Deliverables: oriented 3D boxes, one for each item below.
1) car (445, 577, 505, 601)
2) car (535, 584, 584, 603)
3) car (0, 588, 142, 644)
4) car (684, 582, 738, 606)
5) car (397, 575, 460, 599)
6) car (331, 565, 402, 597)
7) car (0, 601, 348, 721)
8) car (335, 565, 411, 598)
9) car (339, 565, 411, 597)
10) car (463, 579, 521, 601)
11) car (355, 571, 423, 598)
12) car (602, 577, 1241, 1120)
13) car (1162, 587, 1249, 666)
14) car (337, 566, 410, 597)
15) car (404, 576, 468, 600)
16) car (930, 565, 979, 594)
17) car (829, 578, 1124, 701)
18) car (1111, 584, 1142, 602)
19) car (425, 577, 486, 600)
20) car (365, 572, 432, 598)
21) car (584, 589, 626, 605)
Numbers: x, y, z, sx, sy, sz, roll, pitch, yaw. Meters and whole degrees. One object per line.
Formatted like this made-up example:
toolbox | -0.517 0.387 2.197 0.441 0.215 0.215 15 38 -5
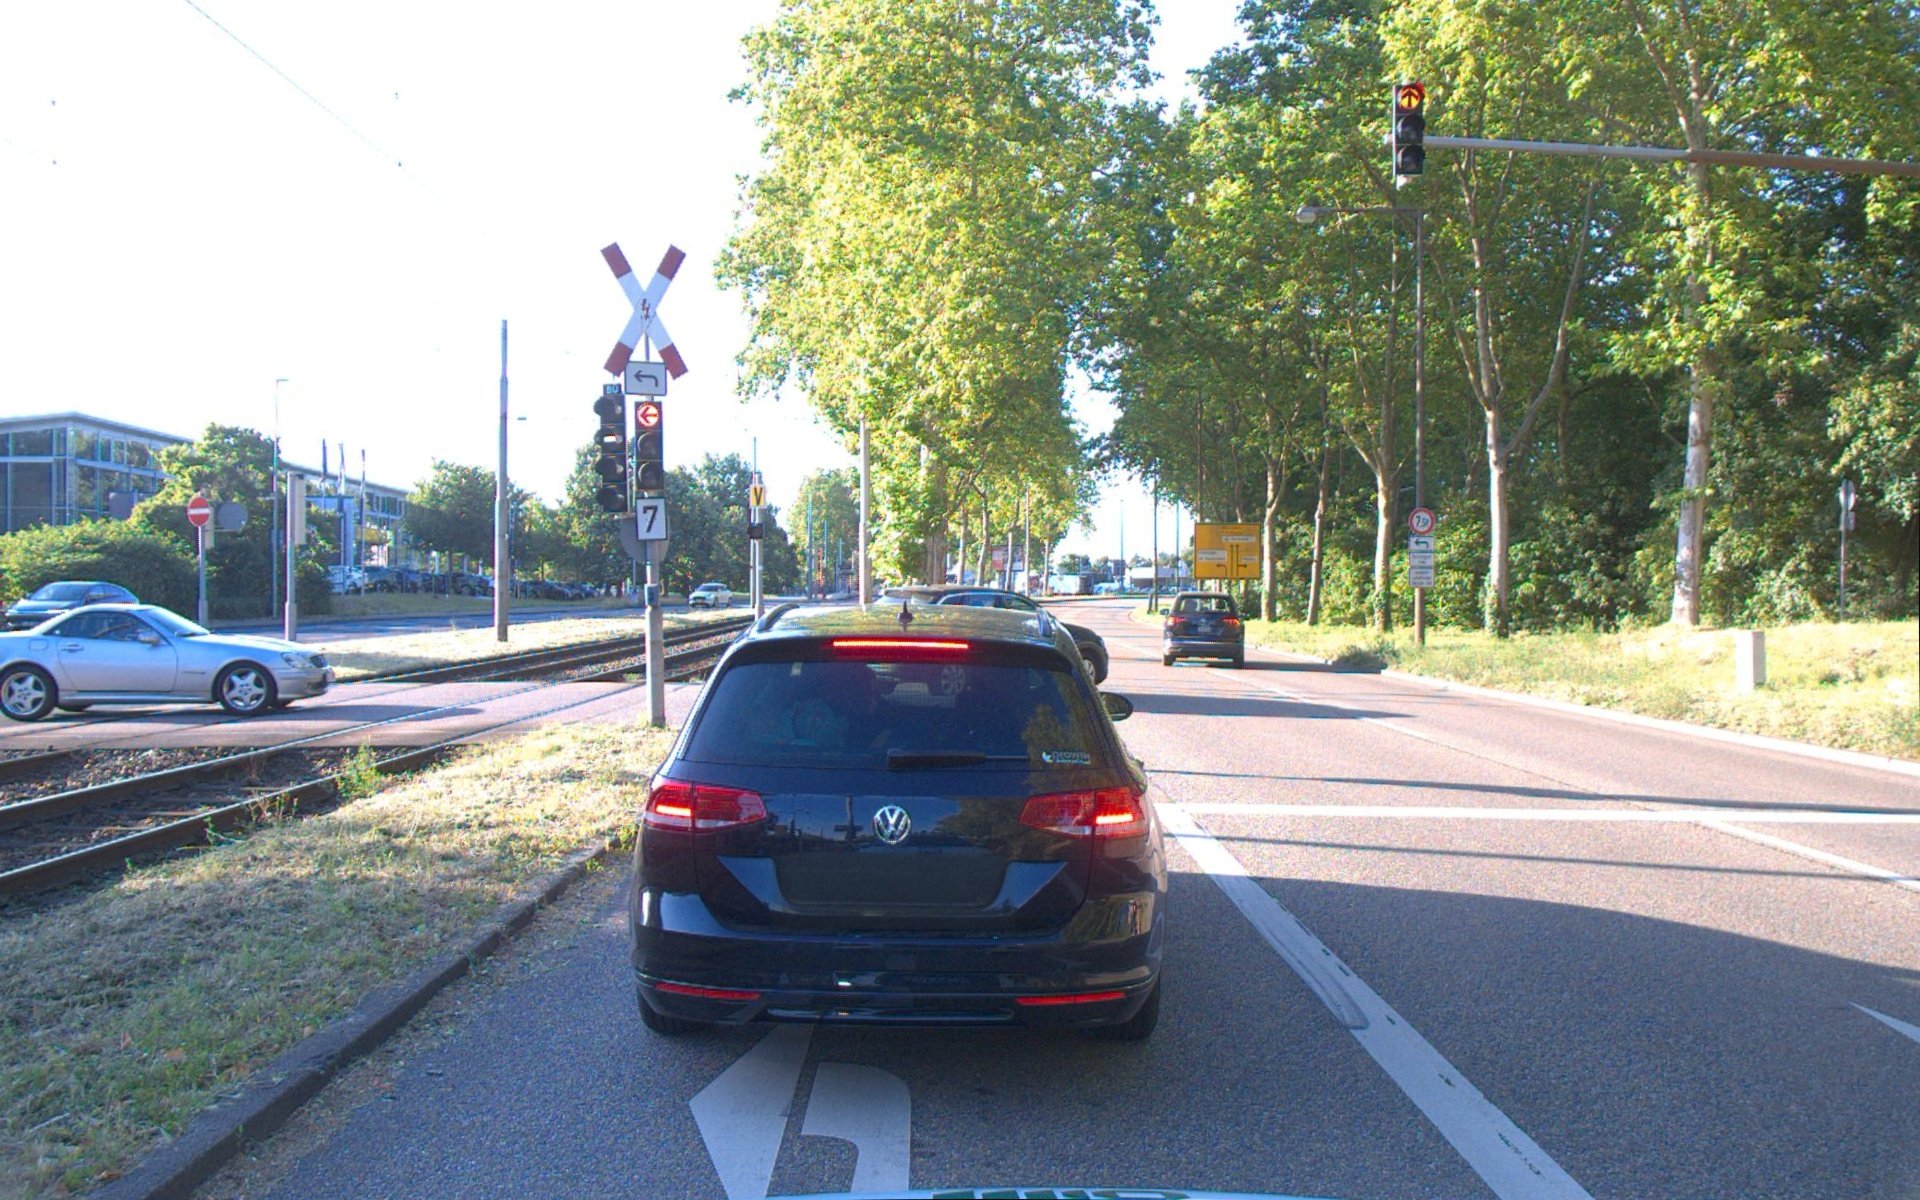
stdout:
car | -35.565 -0.797 121.268 3.909 1.649 1.742 1 0 -6
car | -35.213 -0.549 145.386 3.909 1.649 1.742 1 0 -6
car | -25.374 0.419 47.314 1.823 1.507 4.172 1 1 1
car | -16.100 -0.395 107.134 1.823 1.507 4.094 1 1 17
car | -35.702 -0.874 111.119 3.930 1.583 1.732 1 0 -22
car | -35.544 -1.139 99.030 3.930 1.848 1.732 1 0 -22
car | -9.517 0.696 19.685 3.895 1.317 1.611 0 0 -8
car | -32.906 -1.034 92.728 3.930 1.734 1.732 1 0 -22
car | -34.437 -1.107 97.292 3.930 1.848 1.732 1 0 -22
car | -35.235 -0.756 124.484 3.909 1.649 1.742 1 0 -6
car | -35.197 -0.967 101.945 3.930 1.583 1.732 1 0 -22
car | -0.139 0.693 6.402 1.758 1.490 3.582 1 0 -1
car | 5.550 0.570 37.484 1.832 1.663 4.373 0 0 8
car | -33.689 -1.044 94.967 3.930 1.734 1.732 1 0 -22
car | -36.034 -0.854 113.813 3.913 1.583 1.740 1 0 -9
car | -0.459 -1.849 150.312 2.054 2.504 5.847 1 1 26
car | 0.292 0.529 23.633 4.127 1.588 1.688 1 0 -40
car | 19.716 -0.844 195.907 2.054 2.101 4.874 1 1 27
car | -35.773 -0.814 117.337 3.911 1.583 1.741 1 0 -7
car | -35.538 -0.941 104.724 3.930 1.583 1.732 1 0 -22
car | -35.956 -0.325 167.448 3.909 1.583 1.742 1 0 -5
